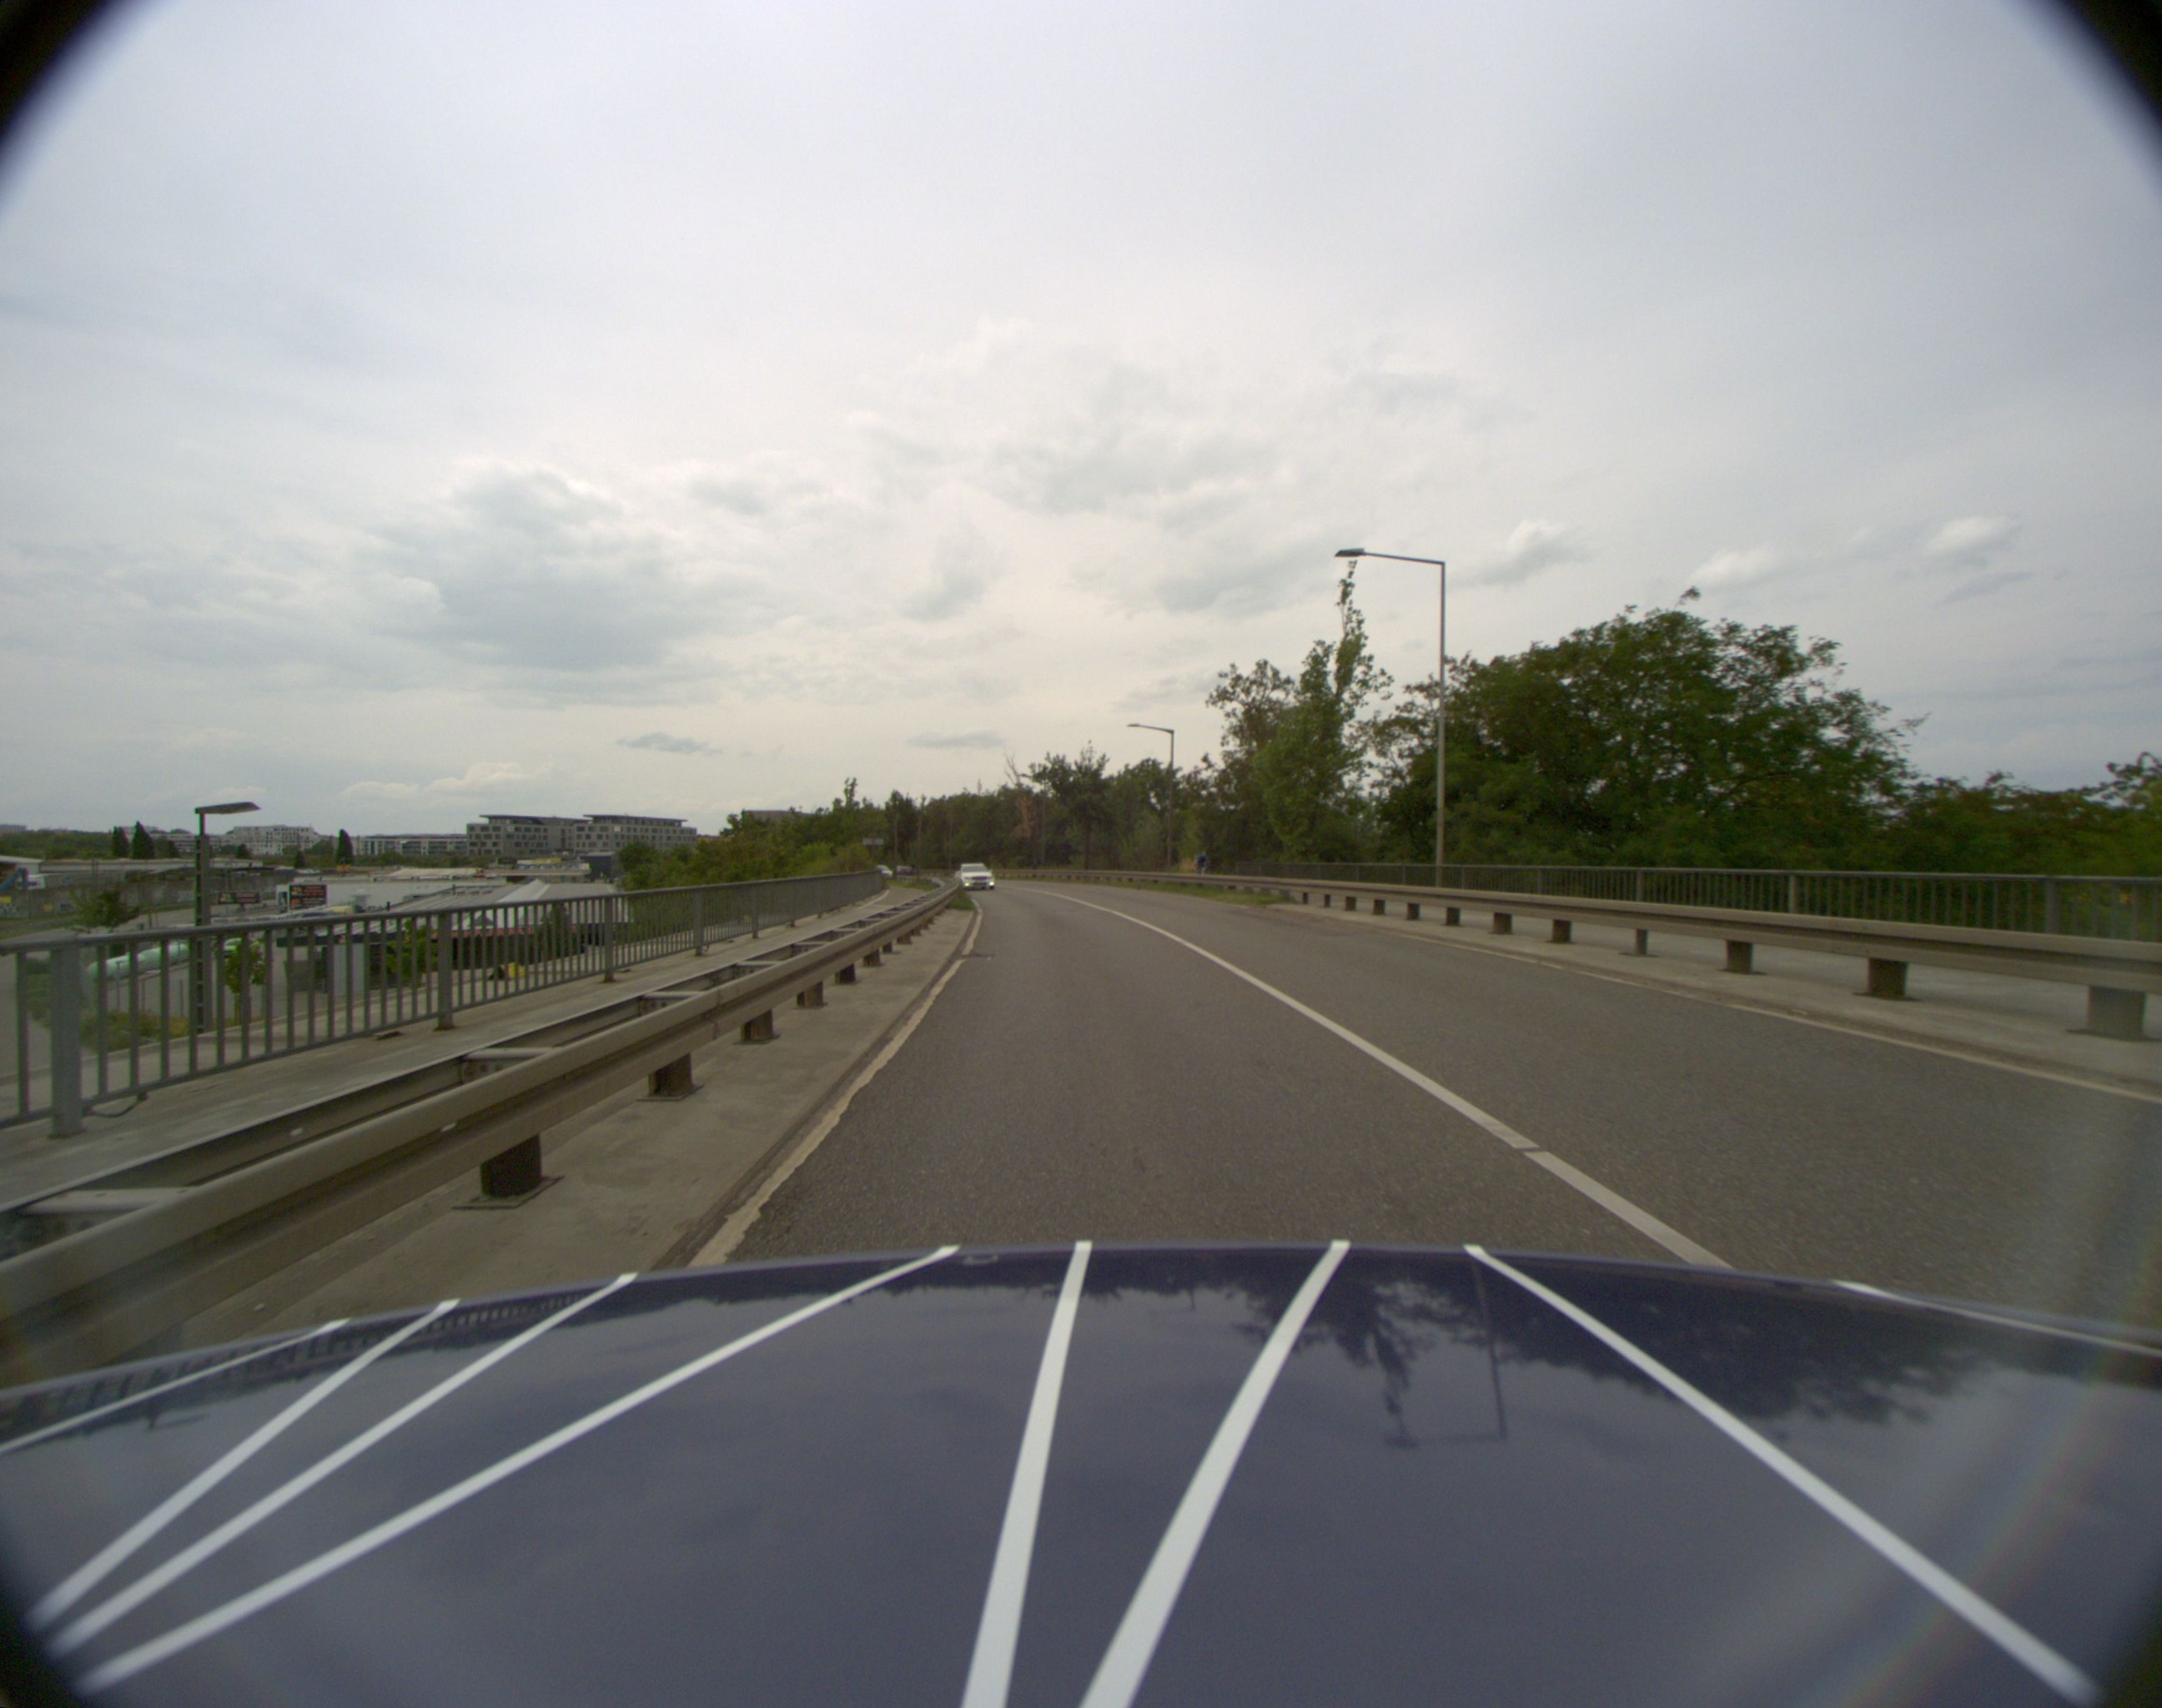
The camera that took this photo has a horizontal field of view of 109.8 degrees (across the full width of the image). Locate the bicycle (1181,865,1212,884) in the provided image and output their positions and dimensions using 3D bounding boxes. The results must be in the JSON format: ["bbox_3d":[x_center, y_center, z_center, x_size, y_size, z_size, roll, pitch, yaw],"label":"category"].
[{"bbox_3d":[5.126,0.907,33.777,0.694,0.793,1.891,-2,-1,-14],"label":"bicycle"}]

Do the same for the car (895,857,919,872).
[{"bbox_3d":[-18.963,1.120,82.780,1.712,1.487,4.320,-3,0,-24],"label":"car"}]

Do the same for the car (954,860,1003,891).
[{"bbox_3d":[-5.736,1.144,42.251,1.940,1.448,3.879,-4,2,-18],"label":"car"}]

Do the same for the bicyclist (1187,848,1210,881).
[{"bbox_3d":[5.180,0.461,33.623,0.713,1.436,0.747,-2,0,-14],"label":"bicyclist"}]

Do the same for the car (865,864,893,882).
[{"bbox_3d":[-20.331,1.957,76.309,1.966,1.694,4.424,-2,-1,-24],"label":"car"}]
